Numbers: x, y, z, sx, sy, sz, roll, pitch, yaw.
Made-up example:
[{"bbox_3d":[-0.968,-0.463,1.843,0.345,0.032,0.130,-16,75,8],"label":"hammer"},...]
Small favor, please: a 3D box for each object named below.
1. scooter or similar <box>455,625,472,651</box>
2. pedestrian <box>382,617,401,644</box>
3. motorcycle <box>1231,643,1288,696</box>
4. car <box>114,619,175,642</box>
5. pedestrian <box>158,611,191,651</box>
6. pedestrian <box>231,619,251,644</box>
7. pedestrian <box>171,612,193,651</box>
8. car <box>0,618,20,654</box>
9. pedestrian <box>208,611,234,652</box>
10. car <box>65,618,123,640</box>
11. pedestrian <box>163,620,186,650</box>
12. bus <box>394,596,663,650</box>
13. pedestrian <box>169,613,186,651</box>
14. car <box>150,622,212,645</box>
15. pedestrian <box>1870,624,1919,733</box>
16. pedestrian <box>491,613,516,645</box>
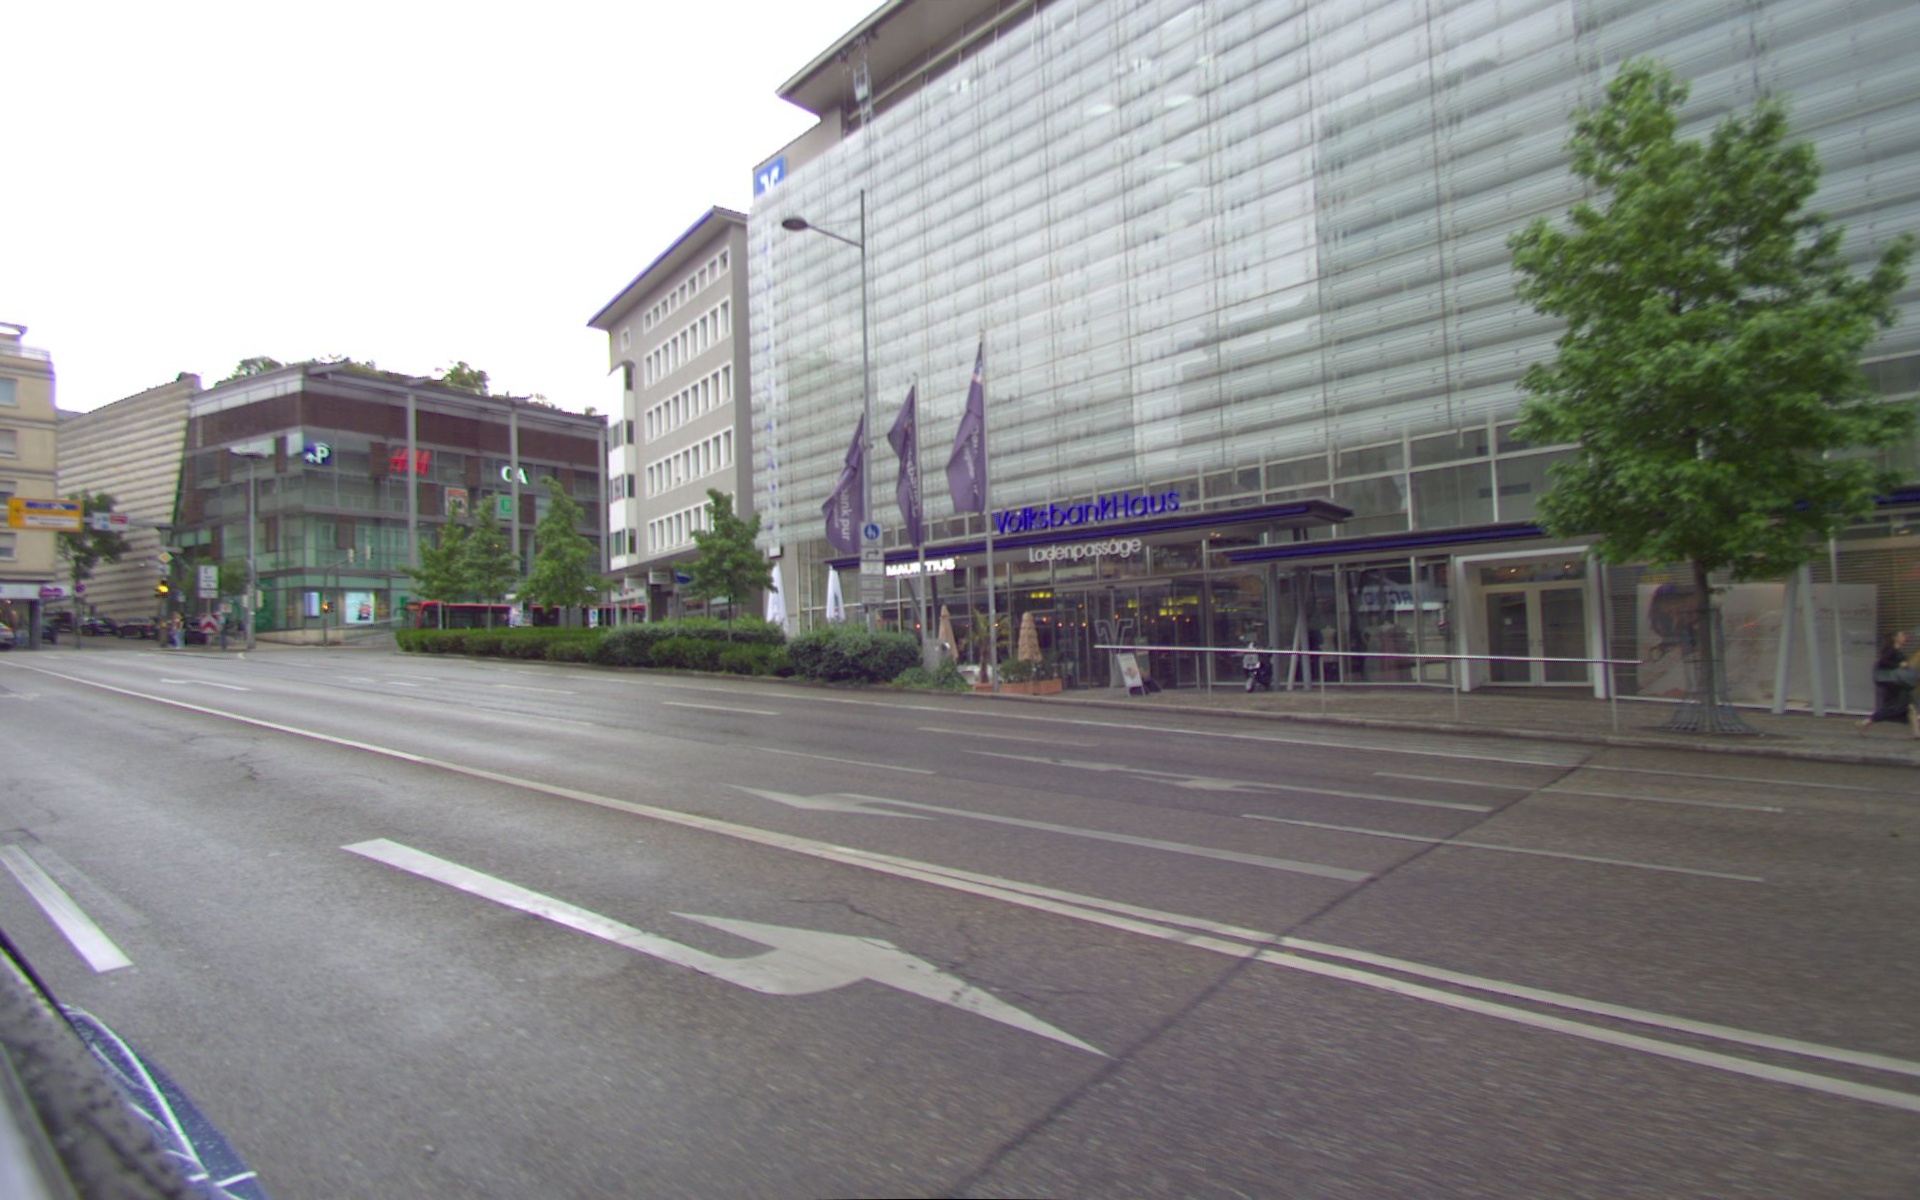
[{"bbox_3d":[-23.824,1.844,48.539,0.535,1.196,1.388,1,-4,-34],"label":"scooter or similar"},{"bbox_3d":[-42.881,2.290,76.366,0.882,1.996,0.963,-2,-3,36],"label":"pedestrian"},{"bbox_3d":[7.808,1.788,26.367,1.529,1.305,0.769,1,-2,-45],"label":"motorcycle"},{"bbox_3d":[-59.682,2.201,74.053,4.358,1.558,1.882,0,0,27],"label":"car"},{"bbox_3d":[-36.318,1.428,46.812,1.009,1.801,0.844,-1,-2,30],"label":"pedestrian"},{"bbox_3d":[-51.327,2.239,72.229,1.042,1.775,0.690,-2,-4,23],"label":"pedestrian"},{"bbox_3d":[-34.505,1.386,44.877,0.784,1.702,0.629,-2,-3,45],"label":"pedestrian"},{"bbox_3d":[-44.462,1.562,44.961,4.049,1.564,1.841,1,-3,10],"label":"car"},{"bbox_3d":[-32.966,1.415,45.131,0.829,1.792,0.611,-1,-3,31],"label":"pedestrian"},{"bbox_3d":[-66.134,2.180,77.289,4.358,1.558,1.882,0,0,27],"label":"car"},{"bbox_3d":[-35.444,1.575,45.671,0.629,1.350,0.582,-1,-3,30],"label":"pedestrian"},{"bbox_3d":[-29.398,1.840,70.916,2.925,3.346,18.243,-2,-3,37],"label":"bus"},{"bbox_3d":[-35.025,1.429,45.294,0.571,1.681,0.494,-3,-4,43],"label":"pedestrian"},{"bbox_3d":[-54.881,2.334,71.277,4.274,1.558,1.789,0,-2,27],"label":"car"},{"bbox_3d":[13.158,1.074,13.958,0.644,1.467,0.845,2,-3,-44],"label":"pedestrian"},{"bbox_3d":[-25.550,1.637,56.619,1.021,1.789,0.791,-1,-3,31],"label":"pedestrian"}]
